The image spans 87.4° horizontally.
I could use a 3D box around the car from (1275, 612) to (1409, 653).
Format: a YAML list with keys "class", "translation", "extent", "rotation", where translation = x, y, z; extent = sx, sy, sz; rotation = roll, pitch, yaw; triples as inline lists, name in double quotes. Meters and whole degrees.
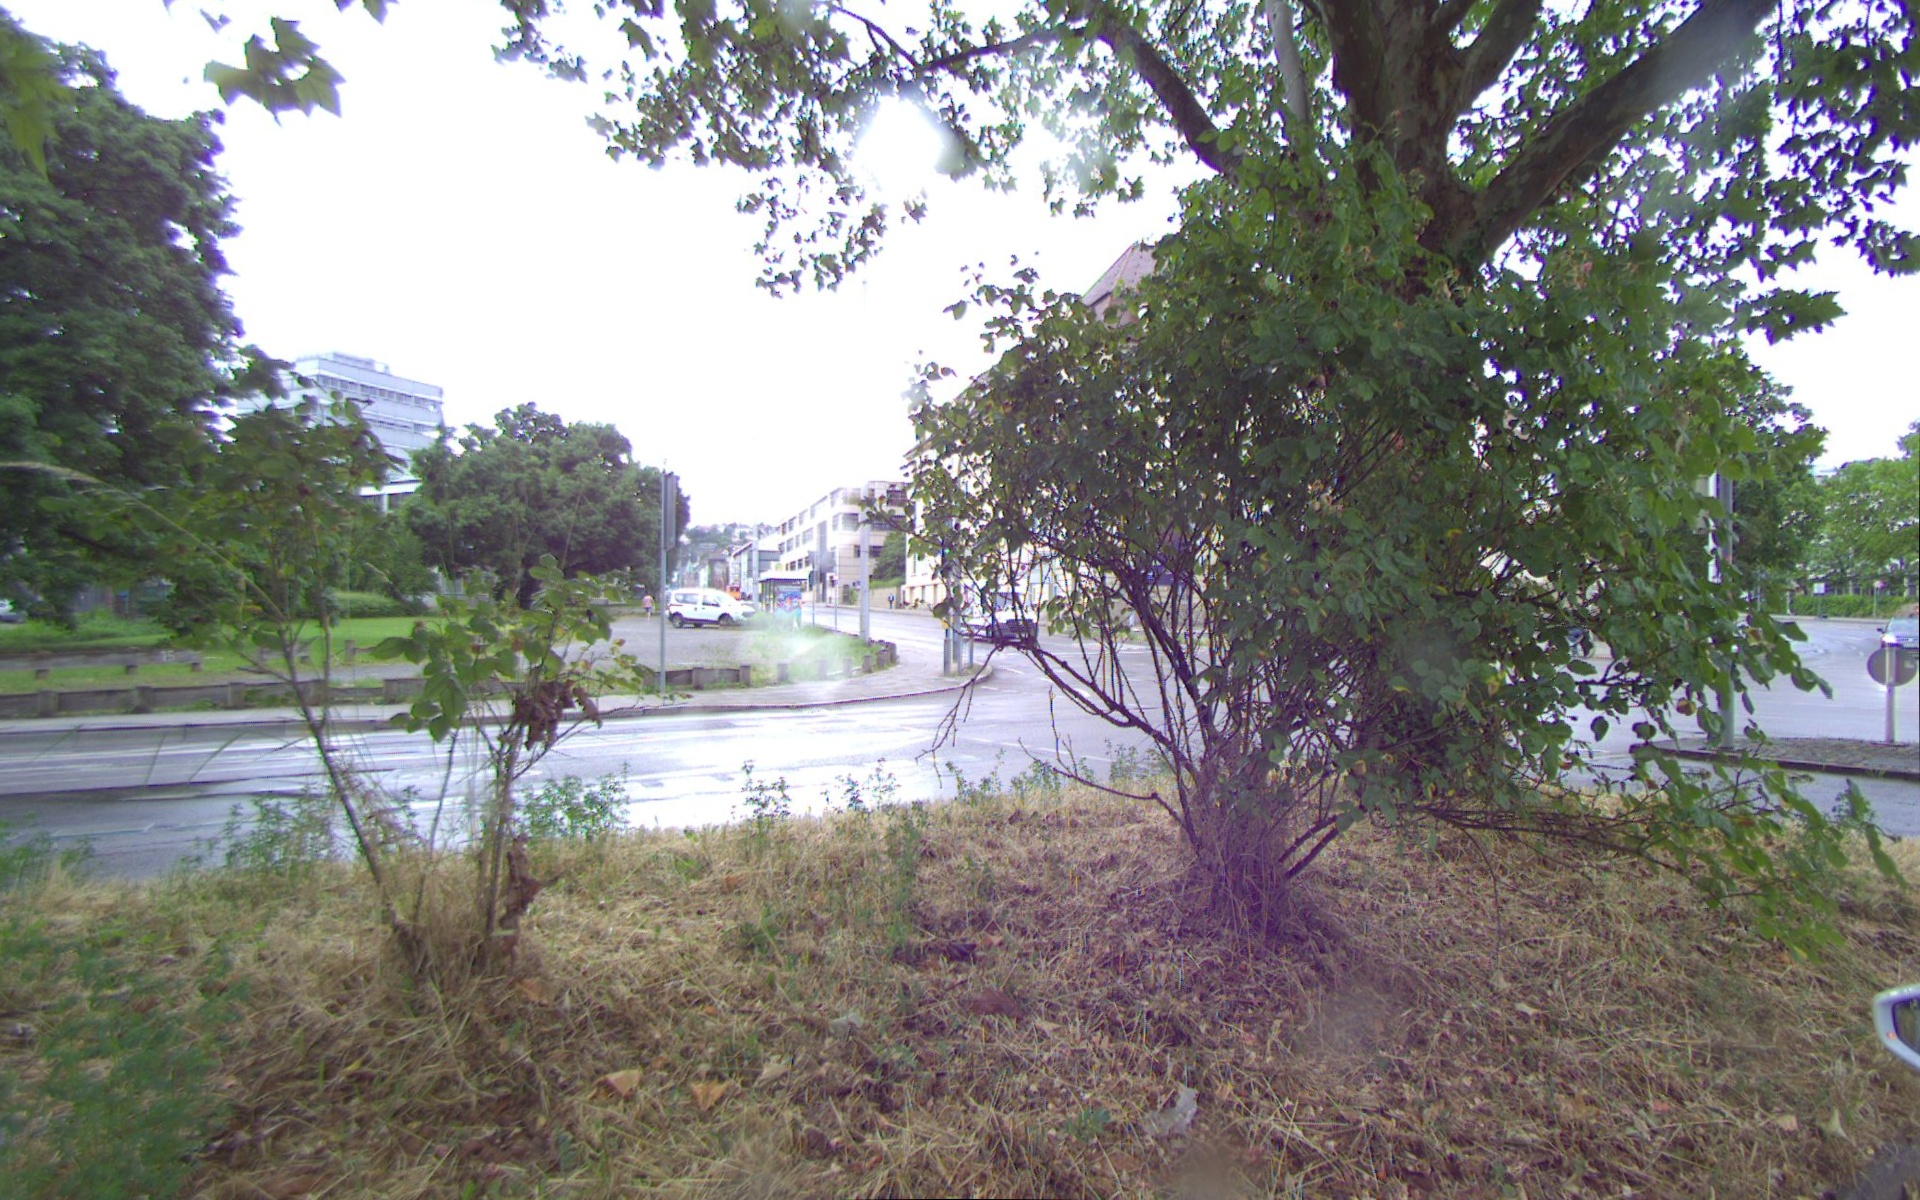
- class: "car"
  translation: [14.184, 1.164, 37.496]
  extent: [1.981, 1.396, 4.342]
  rotation: [1, 0, -36]

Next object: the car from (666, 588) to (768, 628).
- class: "car"
  translation: [-11.306, 0.382, 46.758]
  extent: [4.420, 1.791, 1.833]
  rotation: [0, -1, 24]

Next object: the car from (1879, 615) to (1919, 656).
- class: "car"
  translation: [39.303, 1.449, 41.569]
  extent: [1.847, 1.585, 4.252]
  rotation: [-1, -1, 43]

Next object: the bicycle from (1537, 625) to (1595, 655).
- class: "bicycle"
  translation: [23.209, 1.540, 38.513]
  extent: [1.796, 1.070, 0.644]
  rotation: [1, -1, 45]

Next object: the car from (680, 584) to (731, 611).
- class: "car"
  translation: [-17.171, -0.138, 67.738]
  extent: [1.838, 1.765, 4.029]
  rotation: [1, -1, -39]

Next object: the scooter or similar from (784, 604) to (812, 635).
- class: "scooter or similar"
  translation: [-6.579, 0.792, 40.847]
  extent: [0.541, 1.182, 1.253]
  rotation: [2, 0, 20]

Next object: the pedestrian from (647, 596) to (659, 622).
- class: "pedestrian"
  translation: [-18.717, 0.558, 61.282]
  extent: [0.557, 1.548, 0.669]
  rotation: [2, 0, -8]

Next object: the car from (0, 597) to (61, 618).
- class: "car"
  translation: [-58.525, 0.451, 62.483]
  extent: [3.500, 1.158, 1.586]
  rotation: [2, 0, -18]

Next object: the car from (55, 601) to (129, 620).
- class: "car"
  translation: [-60.335, 0.695, 69.846]
  extent: [3.500, 1.158, 1.586]
  rotation: [2, 0, -18]

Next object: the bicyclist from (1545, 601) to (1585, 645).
- class: "bicyclist"
  translation: [23.207, 0.875, 38.539]
  extent: [1.113, 1.654, 0.698]
  rotation: [2, 0, 45]

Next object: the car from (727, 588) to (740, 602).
- class: "car"
  translation: [-44.390, -0.984, 196.675]
  extent: [1.969, 2.652, 3.983]
  rotation: [2, 0, -19]

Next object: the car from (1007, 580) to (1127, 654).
- class: "car"
  translation: [3.857, 0.582, 37.520]
  extent: [2.034, 2.527, 6.010]
  rotation: [0, 0, -20]

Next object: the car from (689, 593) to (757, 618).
- class: "car"
  translation: [-14.884, 0.349, 63.020]
  extent: [4.004, 1.461, 1.850]
  rotation: [2, 0, 32]
